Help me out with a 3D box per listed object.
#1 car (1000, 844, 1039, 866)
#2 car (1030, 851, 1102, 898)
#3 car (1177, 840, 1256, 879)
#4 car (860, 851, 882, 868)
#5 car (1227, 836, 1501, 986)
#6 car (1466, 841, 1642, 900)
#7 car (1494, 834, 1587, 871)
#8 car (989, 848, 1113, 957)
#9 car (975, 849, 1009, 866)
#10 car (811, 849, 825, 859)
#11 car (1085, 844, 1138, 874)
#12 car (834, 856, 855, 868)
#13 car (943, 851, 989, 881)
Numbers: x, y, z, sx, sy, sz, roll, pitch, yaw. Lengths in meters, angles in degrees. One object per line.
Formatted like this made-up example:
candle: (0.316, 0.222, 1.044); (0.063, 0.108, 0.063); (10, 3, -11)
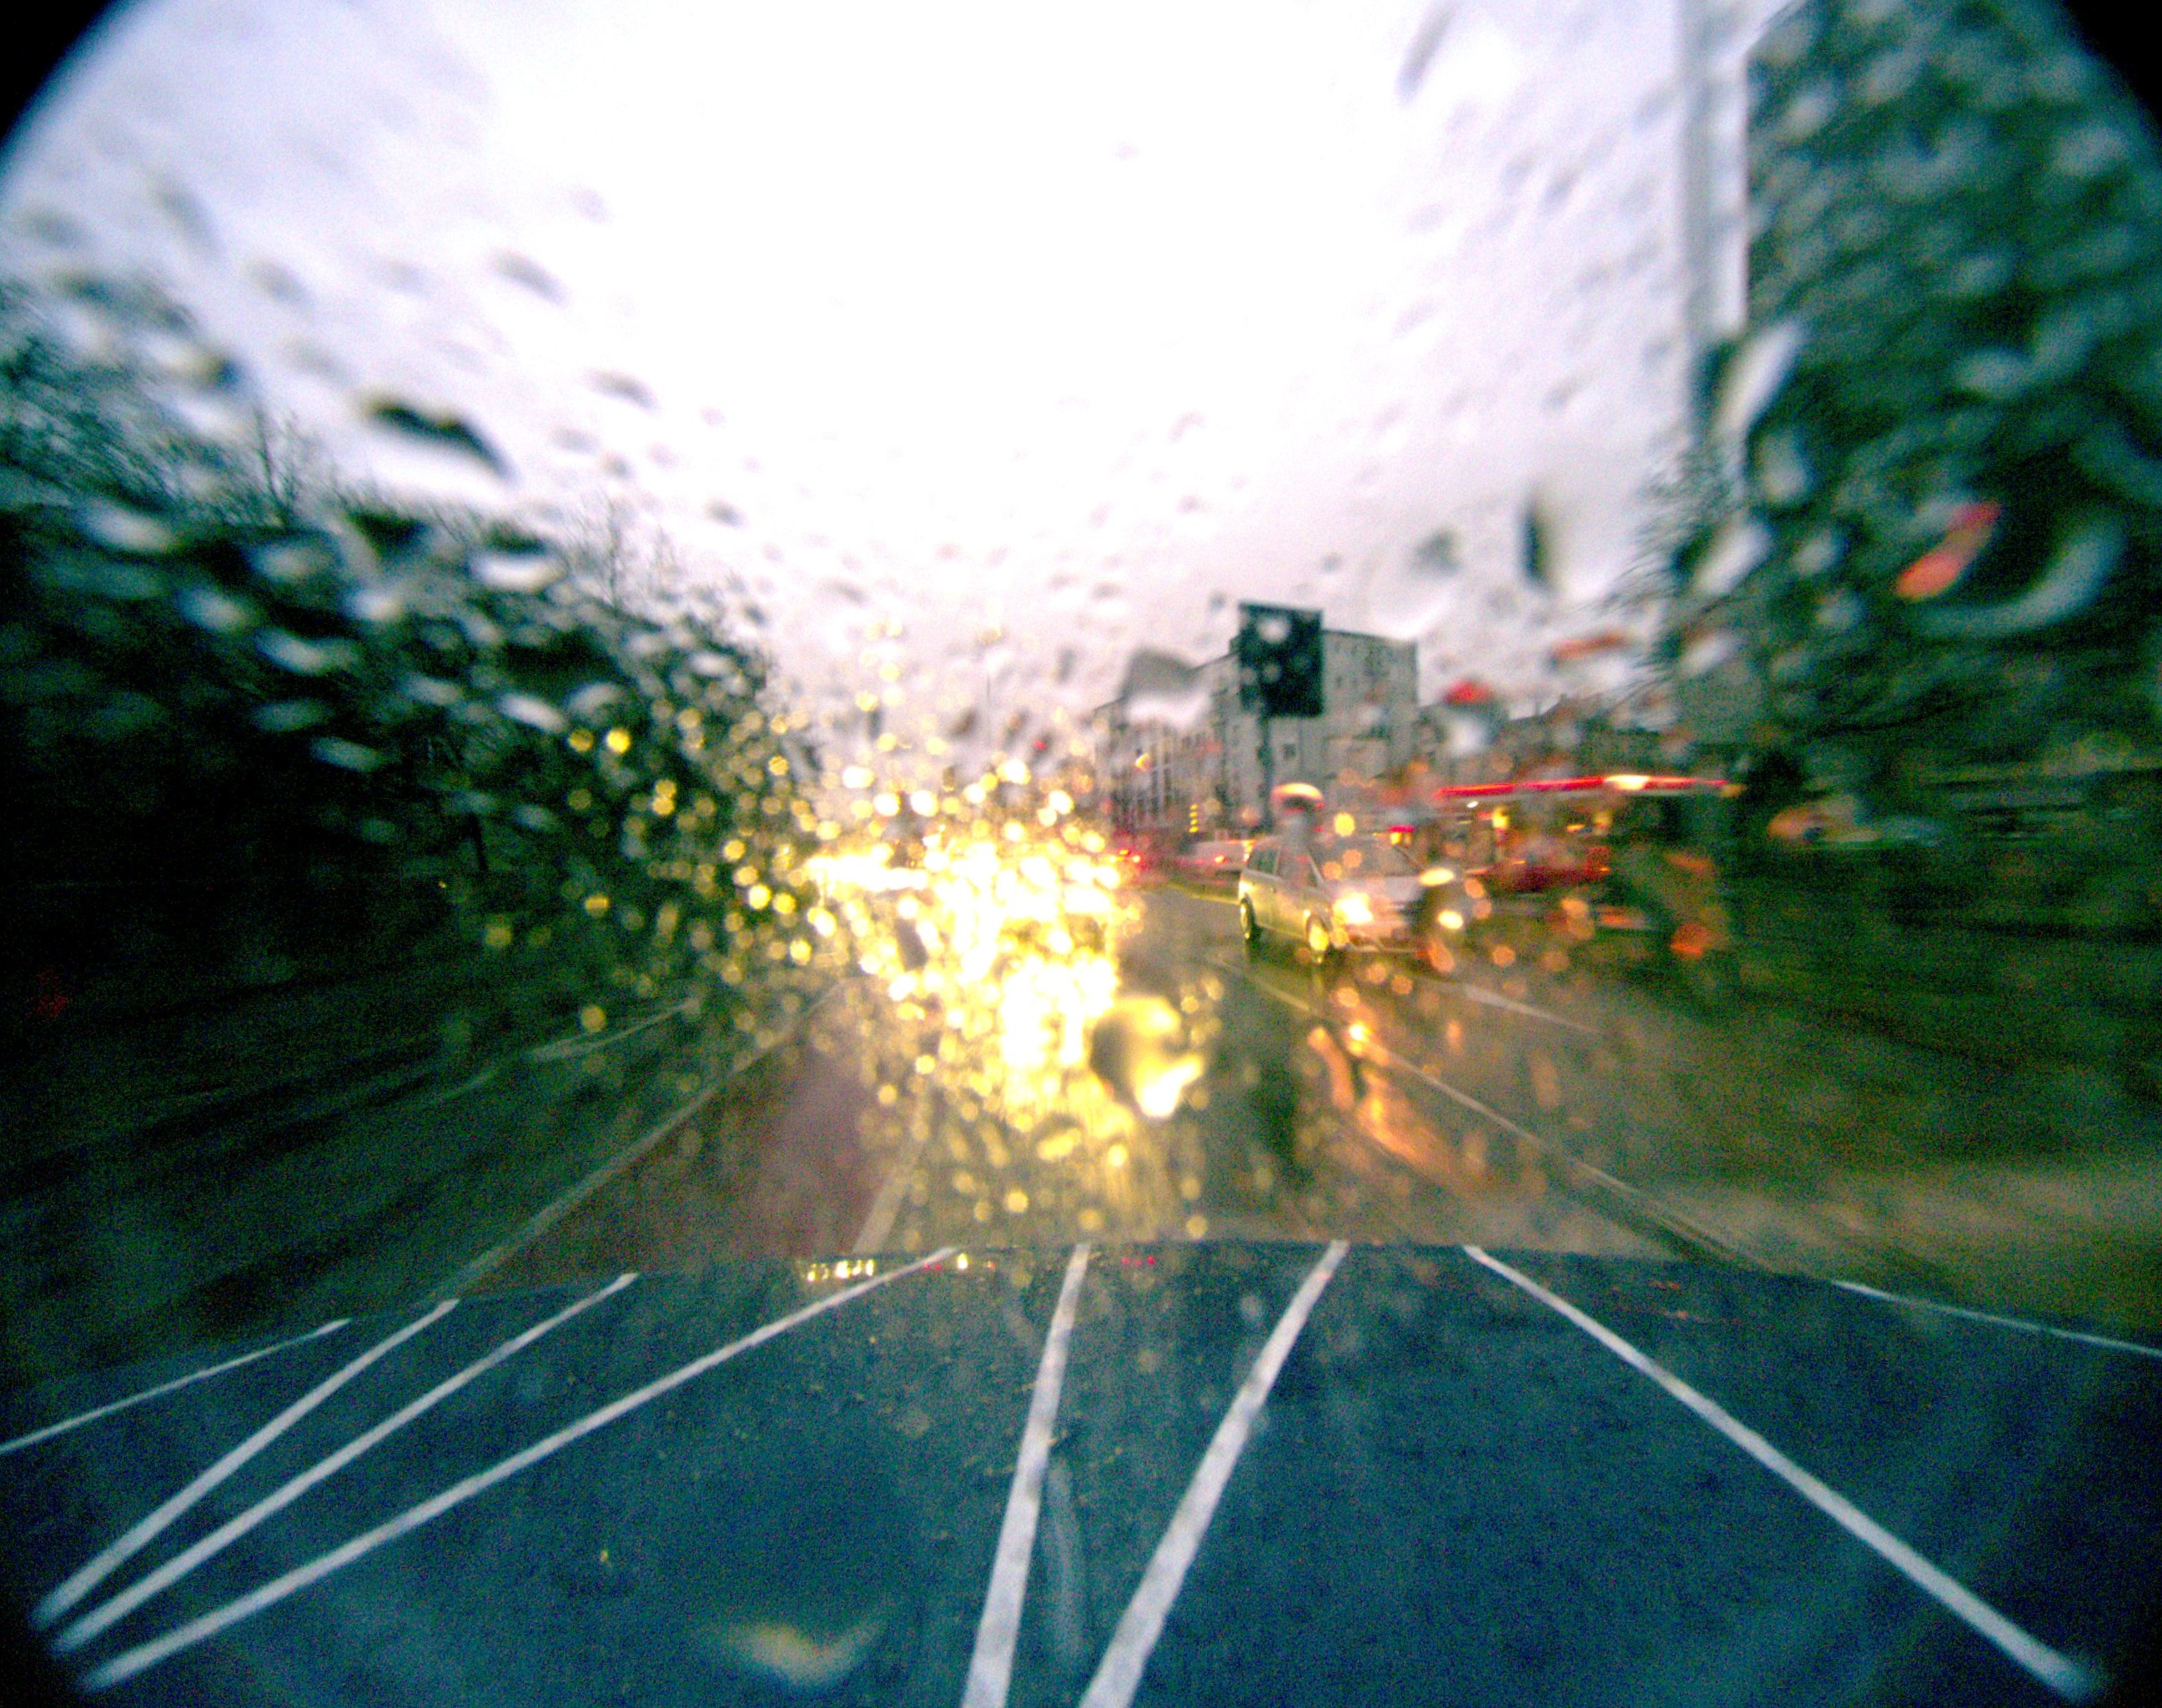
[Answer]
car: (-5.303, 0.091, 64.921); (1.971, 1.772, 4.525); (-1, 0, -22)
car: (-0.623, 0.680, 27.460); (1.755, 1.535, 3.995); (-1, 0, -13)
car: (7.070, 0.253, 40.315); (2.002, 1.934, 4.846); (1, 0, -19)
car: (-25.836, 0.645, 93.594); (2.002, 2.002, 3.992); (-2, 1, -24)
car: (3.440, 0.581, 10.157); (1.650, 1.539, 4.106); (-2, 1, -8)
car: (12.908, 0.418, 20.860); (3.840, 1.441, 1.652); (-1, 2, 43)
car: (20.875, -0.093, 34.500); (4.005, 1.521, 1.775); (-2, 1, -28)
car: (-0.674, 0.723, 13.601); (1.651, 1.575, 3.800); (-2, 1, -10)
car: (-8.397, 0.306, 71.385); (1.971, 1.505, 4.525); (-1, 0, -22)
car: (-44.750, 0.038, 129.049); (2.002, 1.686, 3.993); (-3, 1, -22)
car: (1.728, 0.288, 44.412); (1.652, 1.621, 4.653); (-1, 0, -17)
car: (-29.047, 0.932, 93.171); (1.971, 1.378, 4.525); (-1, 0, -22)
car: (-7.206, 0.699, 47.305); (1.822, 1.732, 4.178); (-1, 1, -23)
